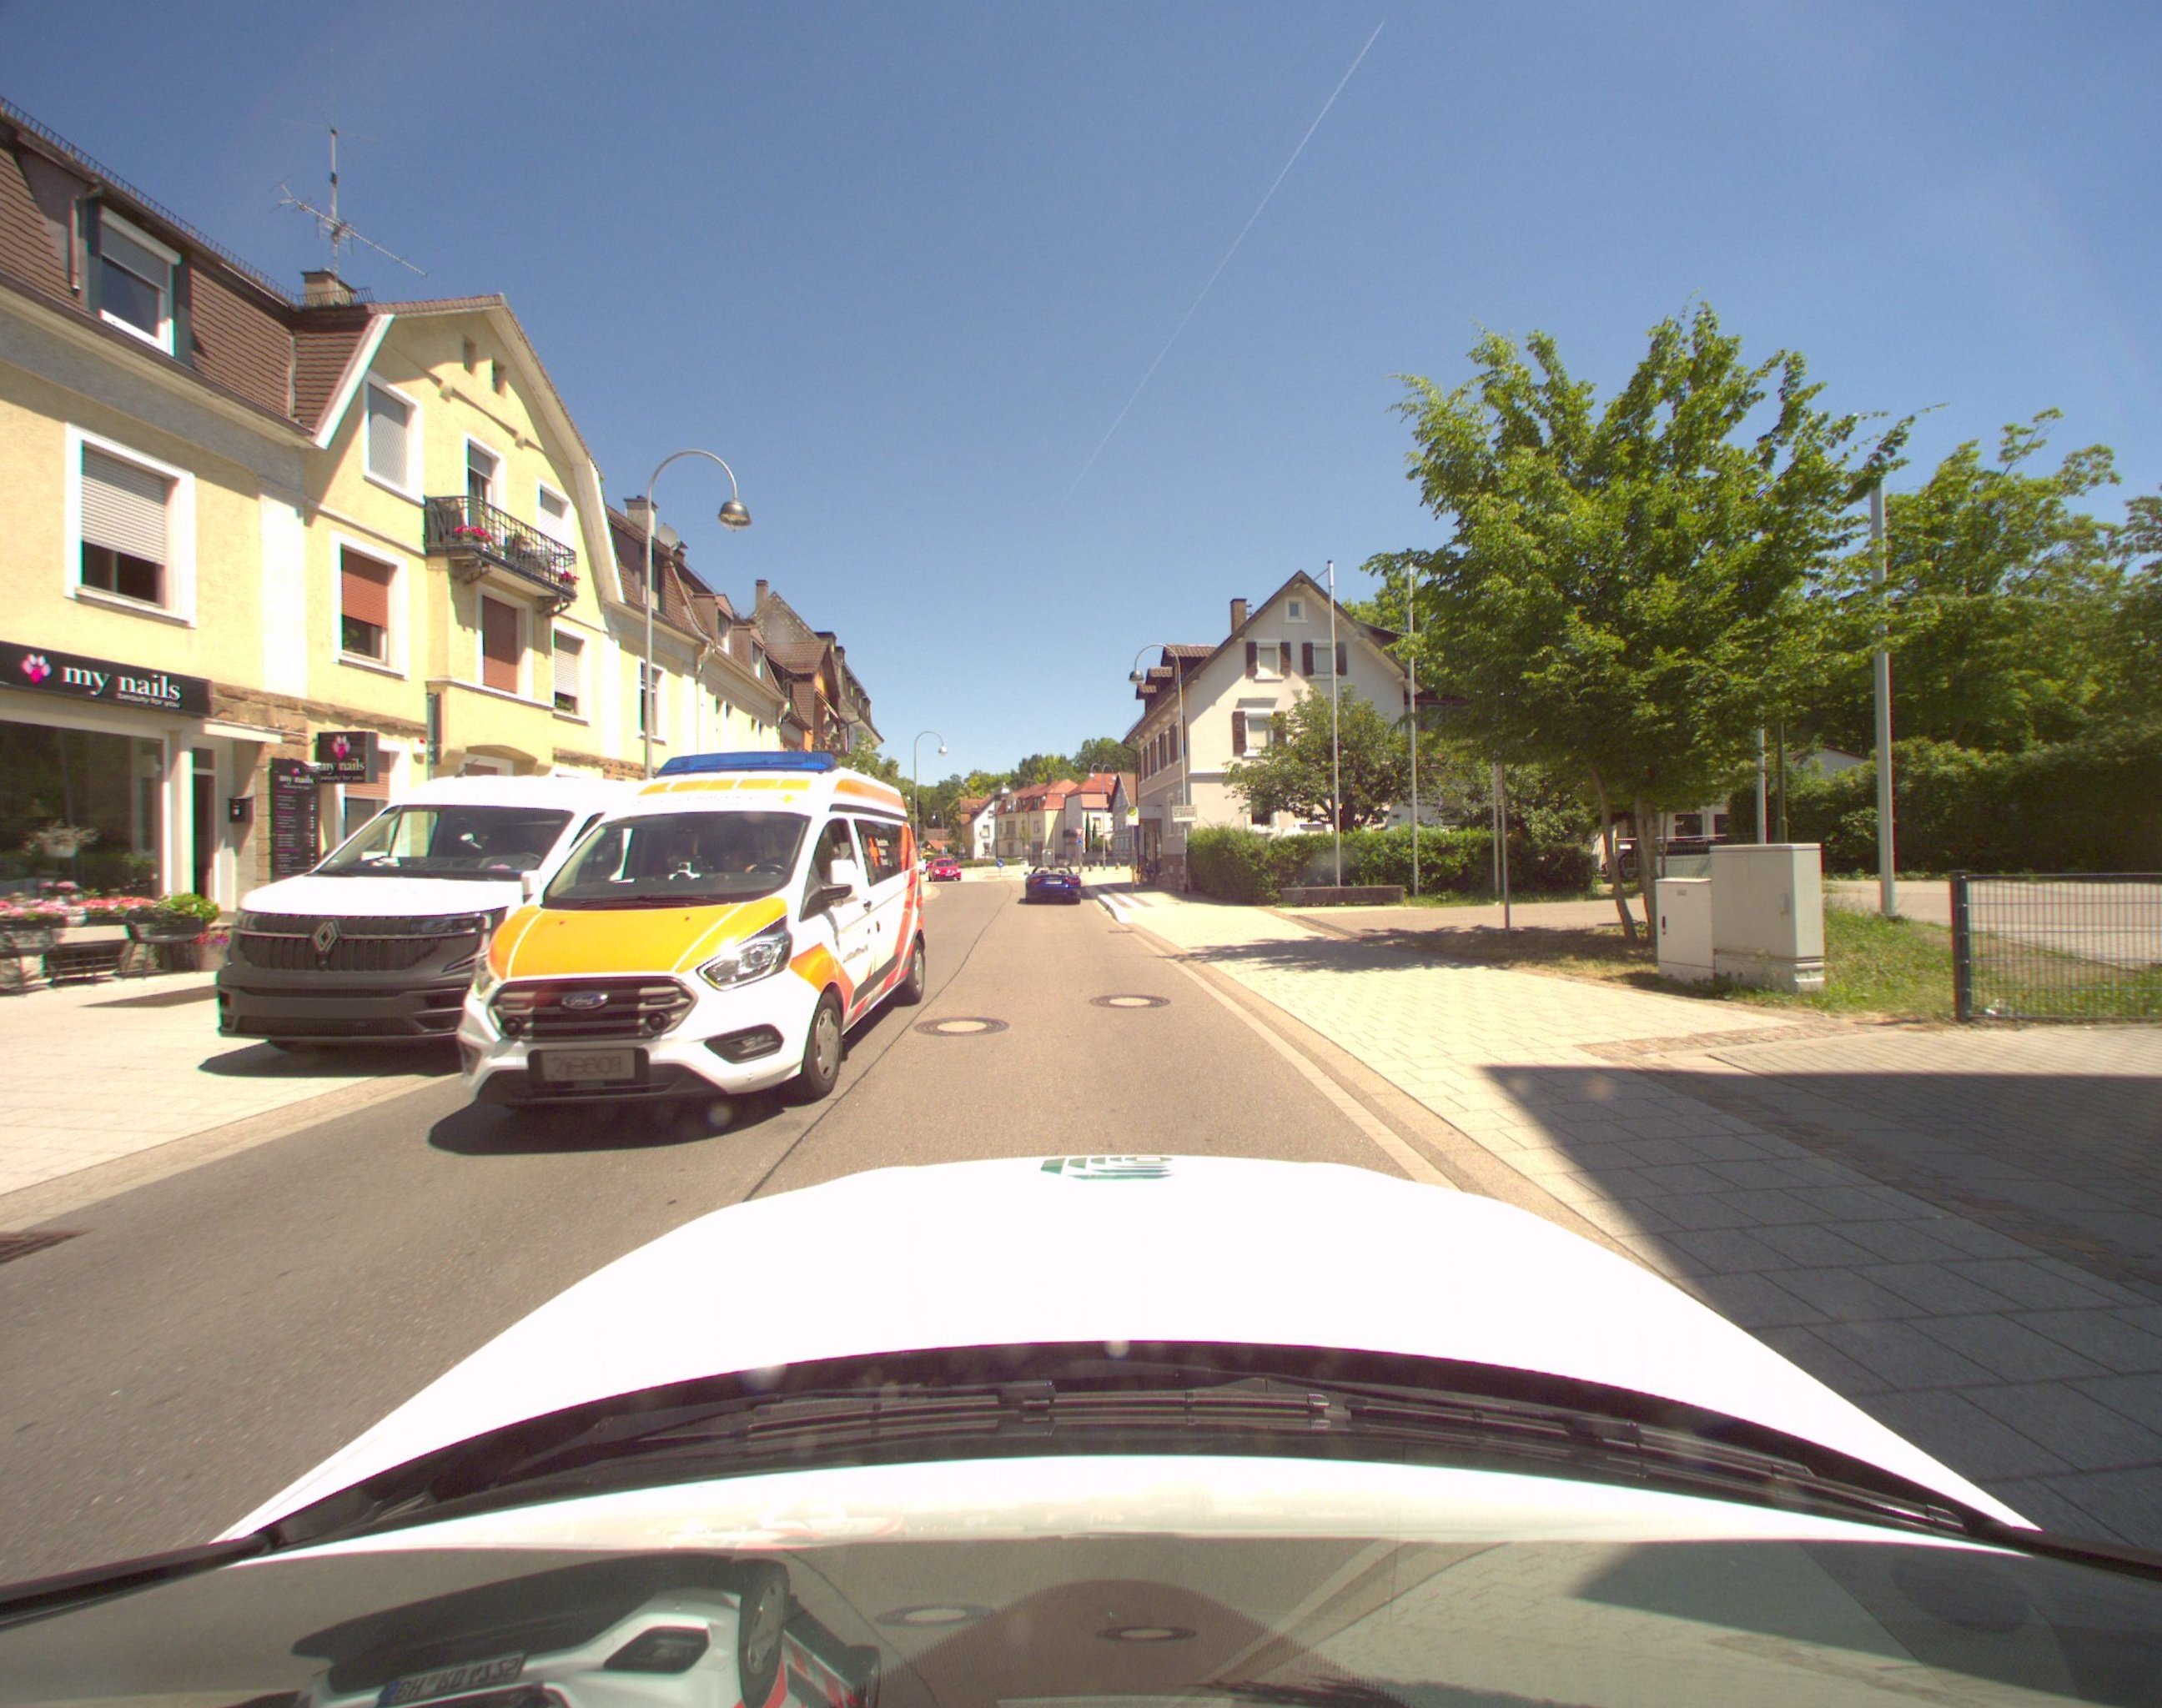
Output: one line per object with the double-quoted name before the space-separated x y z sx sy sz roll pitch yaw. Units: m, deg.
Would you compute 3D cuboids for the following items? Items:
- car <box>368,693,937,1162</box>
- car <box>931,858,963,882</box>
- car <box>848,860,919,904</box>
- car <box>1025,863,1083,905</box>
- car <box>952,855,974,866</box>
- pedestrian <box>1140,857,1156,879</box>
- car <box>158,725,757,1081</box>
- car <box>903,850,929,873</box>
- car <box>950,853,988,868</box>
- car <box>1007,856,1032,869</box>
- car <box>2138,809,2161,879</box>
"car" -2.687 0.371 6.888 2.151 2.362 5.242 -2 0 -3
"car" -8.823 0.999 53.798 1.914 1.427 3.969 -3 0 -8
"car" -7.364 1.004 30.798 1.912 1.481 4.330 2 0 -5
"car" -0.981 1.008 29.014 1.906 1.360 4.281 0 0 -3
"car" -19.081 1.048 131.355 1.864 1.588 3.957 -2 0 -34
"pedestrian" 3.143 0.638 38.222 0.589 0.999 0.722 -2 0 -6
"car" -5.482 0.364 8.513 2.086 2.498 5.499 1 0 -2
"car" -14.254 0.621 70.241 1.996 1.822 4.395 -2 0 -13
"car" -10.500 0.626 75.905 2.007 1.329 4.159 -2 0 -31
"car" -7.974 1.111 104.984 1.927 1.613 4.114 -1 -1 -24
"car" 22.275 -0.204 15.102 1.852 1.441 4.025 -2 0 30
